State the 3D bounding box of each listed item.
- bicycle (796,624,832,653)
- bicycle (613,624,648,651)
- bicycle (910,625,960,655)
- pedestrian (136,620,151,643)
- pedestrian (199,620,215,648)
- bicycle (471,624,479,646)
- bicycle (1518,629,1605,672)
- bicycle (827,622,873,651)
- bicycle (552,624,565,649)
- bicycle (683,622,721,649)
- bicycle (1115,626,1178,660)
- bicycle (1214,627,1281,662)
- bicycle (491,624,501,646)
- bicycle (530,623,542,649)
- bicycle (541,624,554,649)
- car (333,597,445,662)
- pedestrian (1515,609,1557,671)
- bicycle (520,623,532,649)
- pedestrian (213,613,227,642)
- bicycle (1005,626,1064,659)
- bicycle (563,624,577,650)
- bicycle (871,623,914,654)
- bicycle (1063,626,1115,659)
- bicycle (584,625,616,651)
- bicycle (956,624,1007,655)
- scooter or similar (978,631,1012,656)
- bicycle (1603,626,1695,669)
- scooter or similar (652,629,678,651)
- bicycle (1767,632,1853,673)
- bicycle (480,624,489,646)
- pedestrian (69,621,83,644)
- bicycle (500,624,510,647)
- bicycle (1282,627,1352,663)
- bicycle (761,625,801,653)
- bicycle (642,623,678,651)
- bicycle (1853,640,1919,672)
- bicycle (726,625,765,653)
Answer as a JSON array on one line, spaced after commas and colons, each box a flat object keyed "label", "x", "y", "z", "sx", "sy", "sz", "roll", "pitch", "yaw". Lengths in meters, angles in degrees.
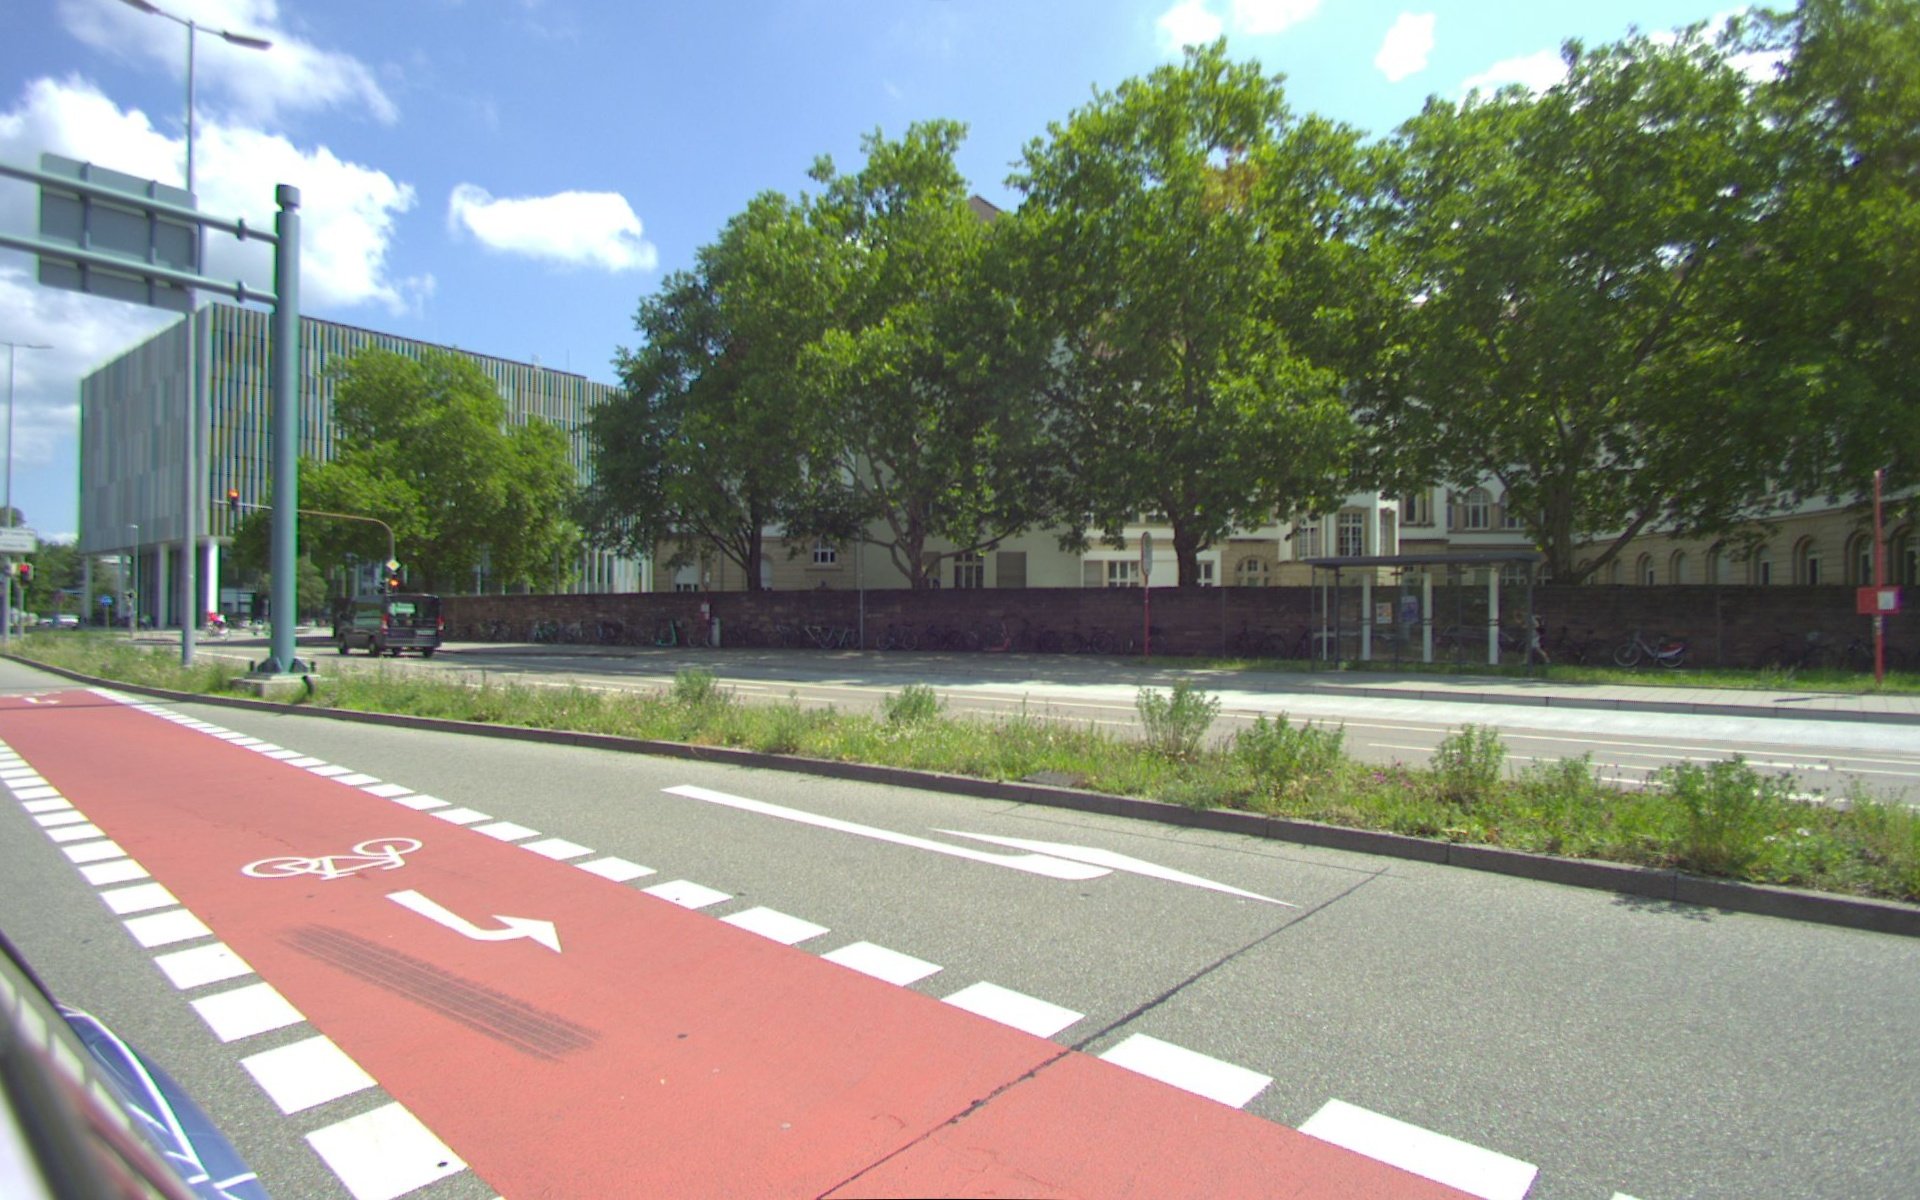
[{"label": "bicycle", "x": -5.455, "y": 1.424, "z": 37.786, "sx": 1.410, "sy": 1.051, "sz": 0.374, "roll": 0, "pitch": -1, "yaw": 28}, {"label": "bicycle", "x": -13.932, "y": 1.579, "z": 42.776, "sx": 1.664, "sy": 1.116, "sz": 0.378, "roll": -1, "pitch": -1, "yaw": 31}, {"label": "bicycle", "x": -0.881, "y": 1.385, "z": 35.396, "sx": 1.753, "sy": 1.011, "sz": 0.394, "roll": 0, "pitch": -1, "yaw": 28}, {"label": "pedestrian", "x": -69.581, "y": 2.673, "z": 86.233, "sx": 0.806, "sy": 1.931, "sz": 0.816, "roll": 0, "pitch": 0, "yaw": 36}, {"label": "pedestrian", "x": -53.016, "y": 2.368, "z": 71.237, "sx": 0.806, "sy": 1.931, "sz": 0.706, "roll": 0, "pitch": 0, "yaw": 36}, {"label": "bicycle", "x": -23.400, "y": 1.659, "z": 48.813, "sx": 0.324, "sy": 1.025, "sz": 1.676, "roll": 1, "pitch": -1, "yaw": -27}, {"label": "bicycle", "x": 16.685, "y": 1.386, "z": 28.124, "sx": 2.022, "sy": 1.146, "sz": 0.396, "roll": 0, "pitch": -1, "yaw": 18}, {"label": "bicycle", "x": -4.041, "y": 1.337, "z": 37.041, "sx": 1.753, "sy": 1.051, "sz": 0.394, "roll": 0, "pitch": -1, "yaw": 28}, {"label": "bicycle", "x": -17.906, "y": 1.621, "z": 45.131, "sx": 0.376, "sy": 1.116, "sz": 1.676, "roll": 1, "pitch": -1, "yaw": -27}, {"label": "bicycle", "x": -10.316, "y": 1.417, "z": 40.458, "sx": 1.663, "sy": 1.051, "sz": 0.379, "roll": -1, "pitch": -1, "yaw": 30}, {"label": "bicycle", "x": 5.946, "y": 1.372, "z": 32.248, "sx": 1.945, "sy": 1.051, "sz": 0.395, "roll": 0, "pitch": -1, "yaw": 23}, {"label": "bicycle", "x": 8.774, "y": 1.343, "z": 30.947, "sx": 1.945, "sy": 1.051, "sz": 0.395, "roll": 0, "pitch": -1, "yaw": 23}, {"label": "bicycle", "x": -21.985, "y": 1.659, "z": 47.914, "sx": 0.324, "sy": 1.025, "sz": 1.676, "roll": 1, "pitch": -1, "yaw": -27}, {"label": "bicycle", "x": -19.299, "y": 1.627, "z": 46.082, "sx": 0.376, "sy": 1.116, "sz": 1.676, "roll": 1, "pitch": -1, "yaw": -27}, {"label": "bicycle", "x": -18.618, "y": 1.626, "z": 45.623, "sx": 0.376, "sy": 1.116, "sz": 1.676, "roll": 1, "pitch": -1, "yaw": -27}, {"label": "car", "x": -20.602, "y": 1.081, "z": 36.447, "sx": 4.519, "sy": 2.188, "sz": 2.185, "roll": -1, "pitch": -3, "yaw": 42}, {"label": "pedestrian", "x": 15.479, "y": 1.064, "z": 27.210, "sx": 0.773, "sy": 1.623, "sz": 0.720, "roll": 0, "pitch": -1, "yaw": 12}, {"label": "bicycle", "x": -19.795, "y": 1.629, "z": 46.177, "sx": 0.376, "sy": 1.116, "sz": 1.676, "roll": 1, "pitch": -1, "yaw": -27}, {"label": "pedestrian", "x": -51.081, "y": 1.907, "z": 69.869, "sx": 0.718, "sy": 1.932, "sz": 0.624, "roll": 0, "pitch": 0, "yaw": 38}, {"label": "bicycle", "x": 2.482, "y": 1.399, "z": 33.718, "sx": 1.946, "sy": 1.051, "sz": 0.394, "roll": 0, "pitch": -1, "yaw": 25}, {"label": "bicycle", "x": -17.251, "y": 1.620, "z": 44.733, "sx": 0.376, "sy": 1.116, "sz": 1.676, "roll": 1, "pitch": -1, "yaw": -27}, {"label": "bicycle", "x": -2.412, "y": 1.368, "z": 36.200, "sx": 1.576, "sy": 1.051, "sz": 0.394, "roll": 0, "pitch": -1, "yaw": 28}, {"label": "bicycle", "x": 4.201, "y": 1.386, "z": 32.984, "sx": 1.629, "sy": 1.051, "sz": 0.395, "roll": 0, "pitch": -1, "yaw": 23}, {"label": "bicycle", "x": -15.614, "y": 1.627, "z": 43.907, "sx": 1.665, "sy": 1.116, "sz": 0.378, "roll": -1, "pitch": -1, "yaw": 33}, {"label": "bicycle", "x": 0.733, "y": 1.336, "z": 34.567, "sx": 1.752, "sy": 1.051, "sz": 0.394, "roll": 0, "pitch": -1, "yaw": 26}, {"label": "scooter or similar", "x": 1.159, "y": 1.447, "z": 33.606, "sx": 1.060, "sy": 0.800, "sz": 0.351, "roll": 0, "pitch": -1, "yaw": 17}, {"label": "bicycle", "x": 18.711, "y": 1.272, "z": 27.514, "sx": 2.022, "sy": 1.146, "sz": 0.396, "roll": 0, "pitch": -1, "yaw": 18}, {"label": "scooter or similar", "x": -11.868, "y": 1.612, "z": 40.723, "sx": 1.065, "sy": 0.850, "sz": 0.350, "roll": -1, "pitch": -1, "yaw": 29}, {"label": "bicycle", "x": 22.177, "y": 1.353, "z": 26.425, "sx": 1.671, "sy": 1.038, "sz": 0.396, "roll": 0, "pitch": -1, "yaw": 15}, {"label": "bicycle", "x": -22.766, "y": 1.658, "z": 48.429, "sx": 0.324, "sy": 1.025, "sz": 1.676, "roll": 1, "pitch": -1, "yaw": -27}, {"label": "pedestrian", "x": -77.314, "y": 2.826, "z": 88.519, "sx": 0.806, "sy": 1.931, "sz": 0.706, "roll": 0, "pitch": 0, "yaw": 36}, {"label": "bicycle", "x": -21.381, "y": 1.664, "z": 47.522, "sx": 0.324, "sy": 1.025, "sz": 1.676, "roll": 1, "pitch": -1, "yaw": -27}, {"label": "bicycle", "x": 10.633, "y": 1.332, "z": 30.149, "sx": 1.945, "sy": 1.051, "sz": 0.395, "roll": 0, "pitch": -1, "yaw": 23}, {"label": "bicycle", "x": -6.822, "y": 1.466, "z": 38.543, "sx": 1.663, "sy": 1.051, "sz": 0.379, "roll": -1, "pitch": -1, "yaw": 30}, {"label": "bicycle", "x": -12.412, "y": 1.532, "z": 41.875, "sx": 1.663, "sy": 1.116, "sz": 0.379, "roll": -1, "pitch": -1, "yaw": 30}, {"label": "bicycle", "x": 23.906, "y": 1.436, "z": 25.965, "sx": 1.452, "sy": 0.795, "sz": 0.396, "roll": 0, "pitch": -1, "yaw": 15}, {"label": "bicycle", "x": -8.349, "y": 1.509, "z": 39.432, "sx": 1.663, "sy": 1.051, "sz": 0.379, "roll": -1, "pitch": -1, "yaw": 30}]
